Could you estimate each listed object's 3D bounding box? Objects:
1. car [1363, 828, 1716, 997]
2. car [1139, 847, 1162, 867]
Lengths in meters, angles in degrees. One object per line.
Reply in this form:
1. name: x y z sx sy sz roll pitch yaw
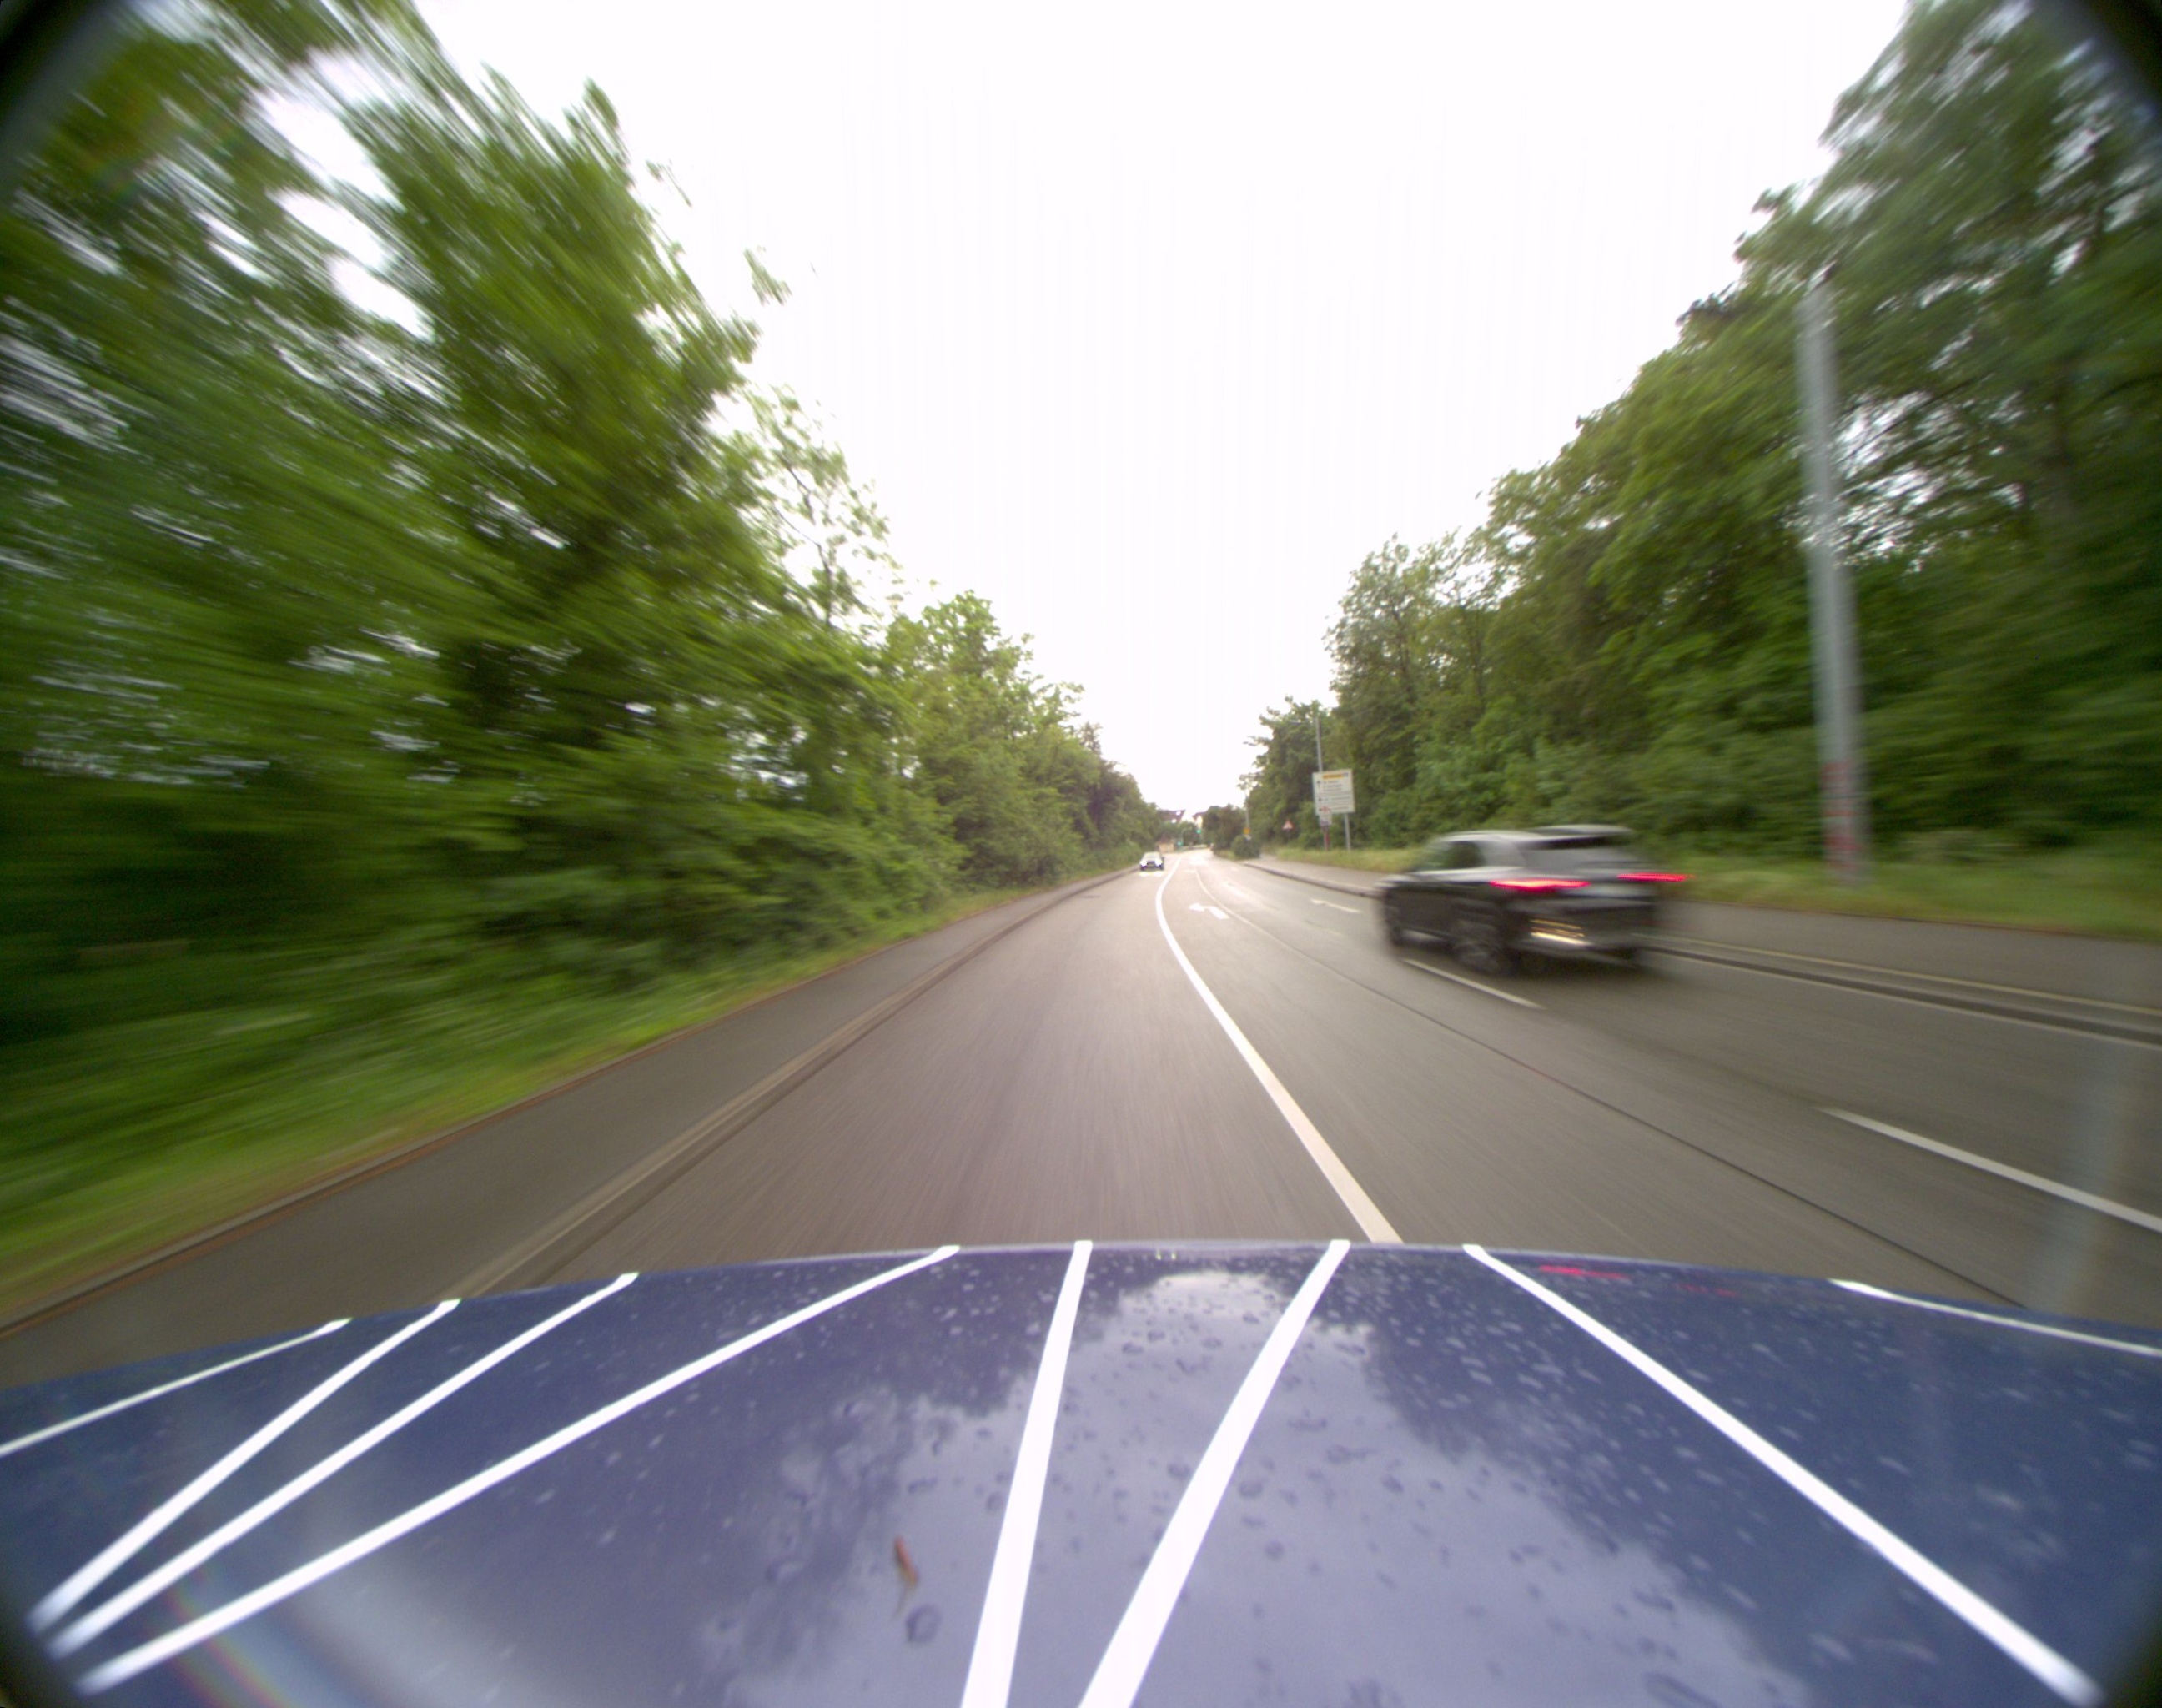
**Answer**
1. car: 5.350 0.576 9.737 1.813 1.585 4.518 -3 0 1
2. car: 5.644 0.265 61.540 1.831 1.511 4.003 1 -1 6
